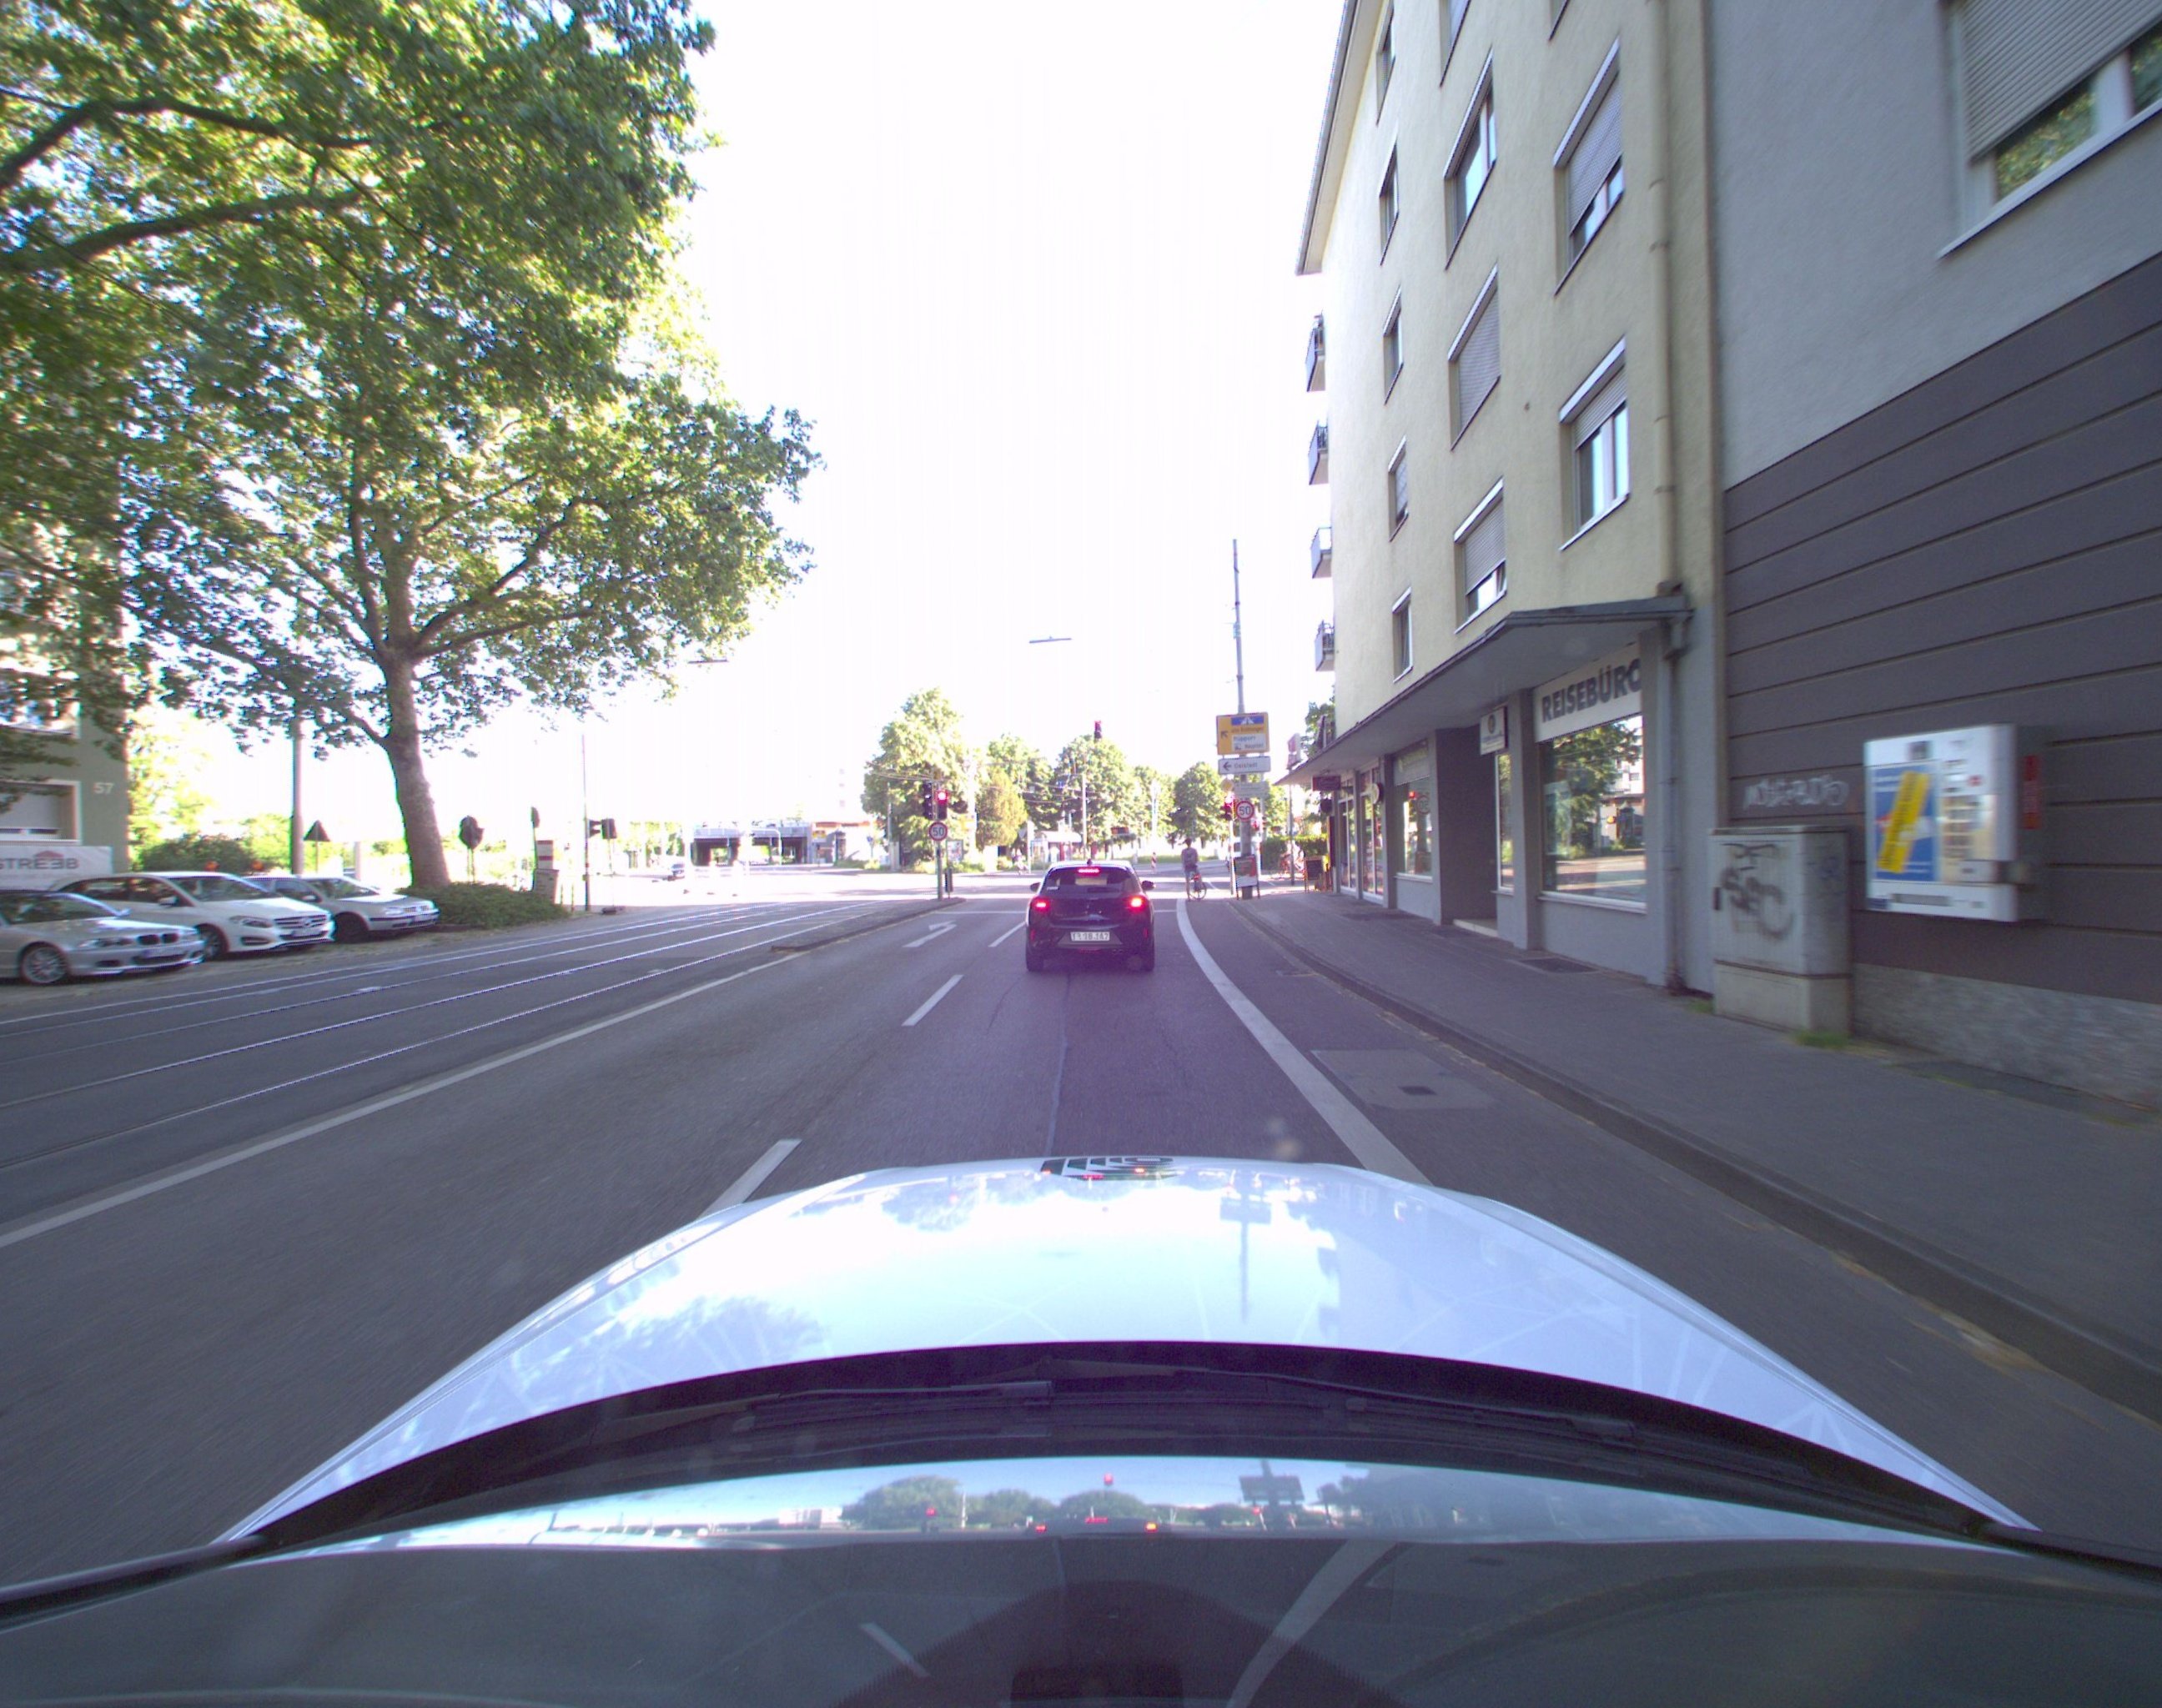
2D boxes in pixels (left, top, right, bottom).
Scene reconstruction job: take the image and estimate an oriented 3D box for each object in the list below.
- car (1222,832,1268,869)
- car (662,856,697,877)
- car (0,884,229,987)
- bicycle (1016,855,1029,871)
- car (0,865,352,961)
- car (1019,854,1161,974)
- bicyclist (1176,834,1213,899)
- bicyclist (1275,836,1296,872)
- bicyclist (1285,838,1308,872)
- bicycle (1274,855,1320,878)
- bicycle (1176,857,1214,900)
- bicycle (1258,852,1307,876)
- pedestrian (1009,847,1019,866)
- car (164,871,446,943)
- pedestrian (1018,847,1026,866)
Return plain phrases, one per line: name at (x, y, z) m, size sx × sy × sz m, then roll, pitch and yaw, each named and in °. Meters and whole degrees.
car at (10.635, -0.273, 52.512) m, size 2.046 × 2.248 × 4.912 m, roll -1°, pitch 0°, yaw 20°
car at (-30.736, 0.919, 62.488) m, size 1.830 × 1.519 × 3.870 m, roll 0°, pitch 0°, yaw -18°
car at (-16.012, 1.196, 12.403) m, size 4.227 × 1.368 × 1.728 m, roll 0°, pitch 0°, yaw 0°
bicycle at (-3.814, 0.573, 52.957) m, size 0.603 × 1.031 × 1.983 m, roll -2°, pitch 0°, yaw 2°
car at (-16.677, 1.048, 15.152) m, size 4.593 × 1.618 × 1.799 m, roll 0°, pitch 0°, yaw 1°
car at (0.200, 0.741, 12.105) m, size 1.720 × 1.429 × 4.190 m, roll -1°, pitch 0°, yaw 2°
bicyclist at (3.334, 0.350, 24.090) m, size 0.938 × 1.851 × 0.864 m, roll -2°, pitch 0°, yaw 1°
bicyclist at (10.012, -0.014, 39.904) m, size 0.920 × 1.707 × 0.879 m, roll -2°, pitch 0°, yaw 14°
bicyclist at (10.090, 0.045, 38.193) m, size 1.003 × 1.570 × 0.802 m, roll -2°, pitch 0°, yaw 13°
bicycle at (10.139, 0.582, 38.199) m, size 2.044 × 0.984 × 0.675 m, roll -2°, pitch 0°, yaw 13°
bicycle at (3.348, 0.694, 24.133) m, size 0.857 × 1.153 × 2.173 m, roll -2°, pitch 0°, yaw 2°
bicycle at (9.899, 0.497, 39.960) m, size 2.276 × 1.084 × 0.804 m, roll -2°, pitch 0°, yaw 14°
pedestrian at (-5.876, 0.230, 71.575) m, size 0.746 × 1.629 × 0.599 m, roll 0°, pitch -1°, yaw 9°
car at (-16.679, 1.107, 17.656) m, size 4.496 × 1.429 × 1.676 m, roll 0°, pitch 0°, yaw 1°
pedestrian at (-5.176, 0.236, 71.465) m, size 0.633 × 1.629 × 0.573 m, roll 0°, pitch -1°, yaw 9°
